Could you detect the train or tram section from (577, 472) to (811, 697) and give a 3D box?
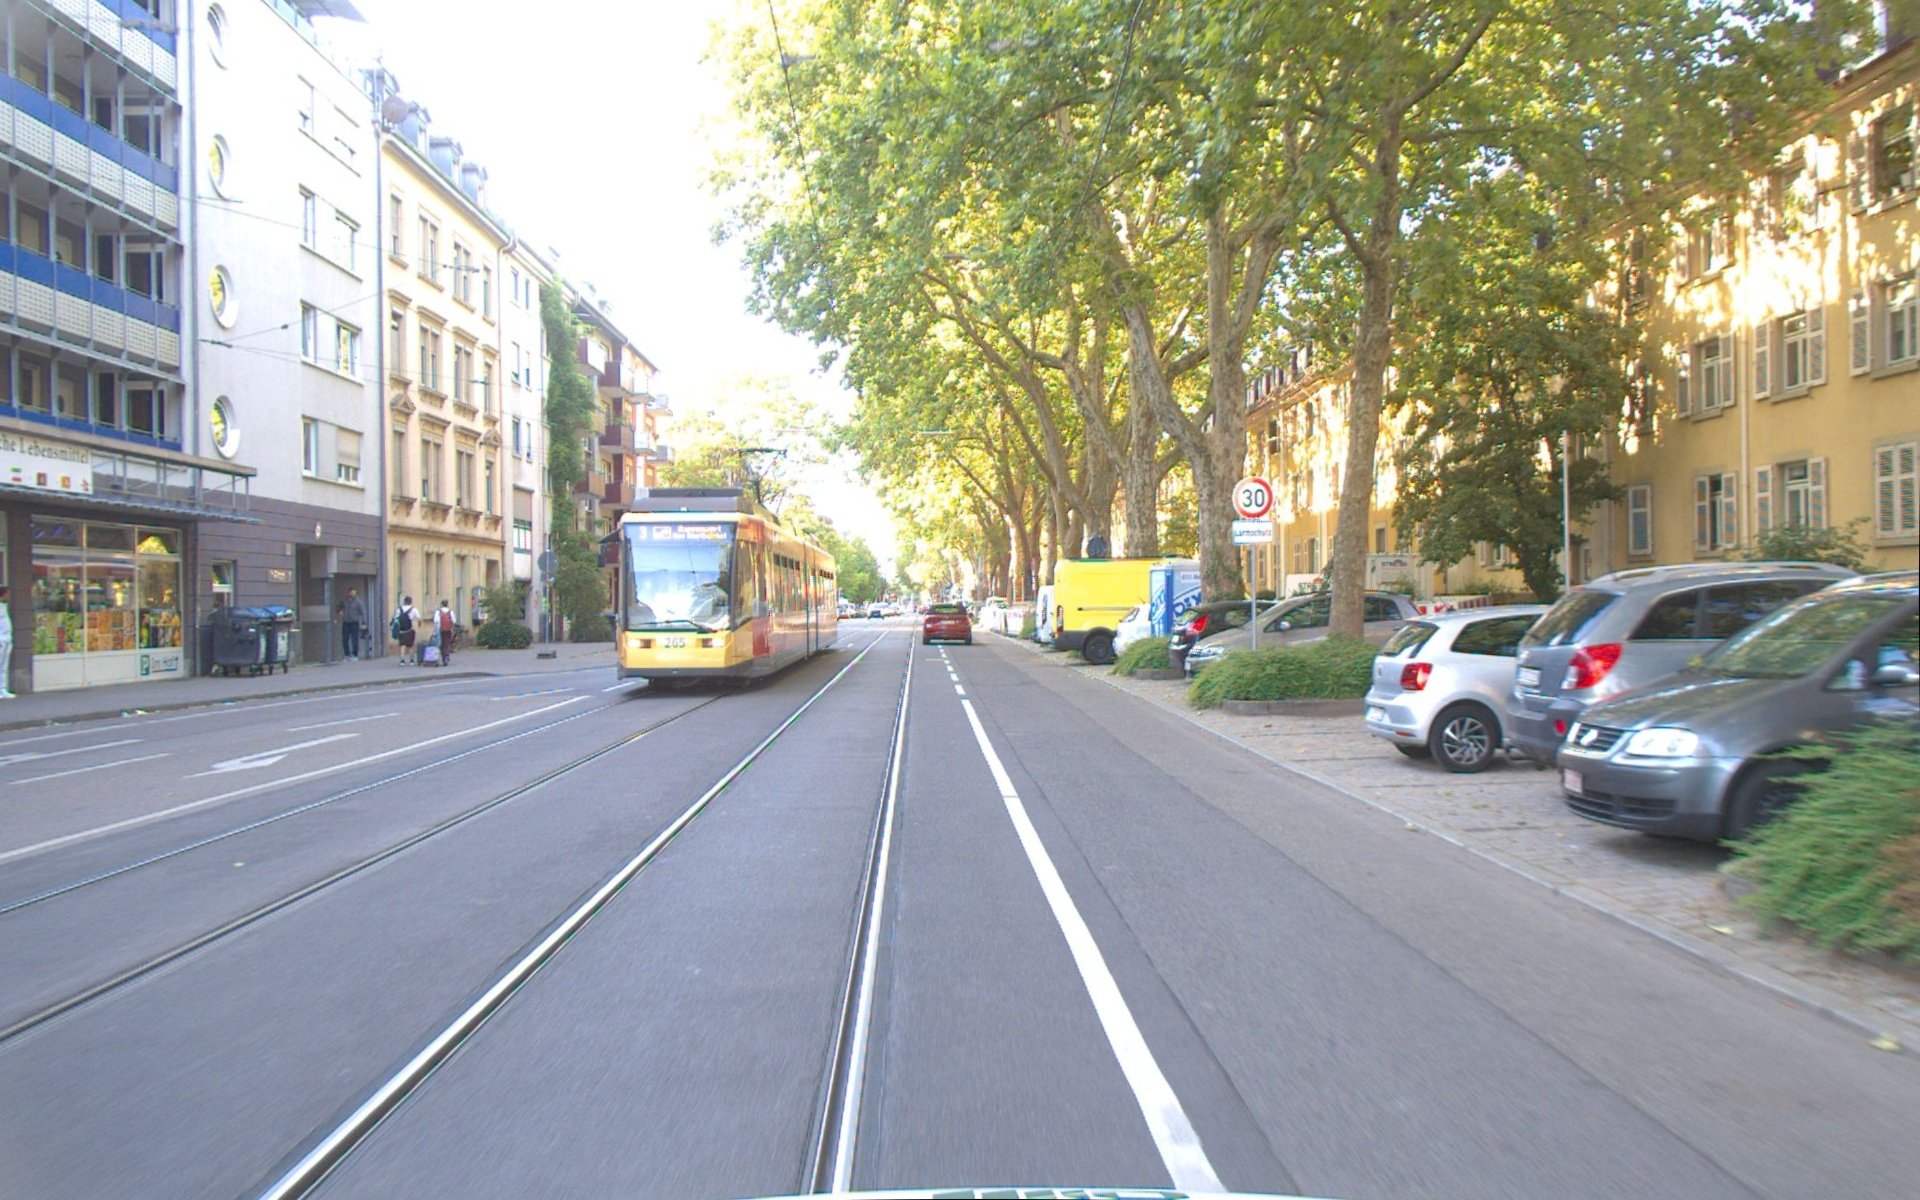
[{"bbox_3d":[-4.854,-0.247,33.145,2.850,3.547,13.365,-1,0,-2],"label":"train or tram section"}]

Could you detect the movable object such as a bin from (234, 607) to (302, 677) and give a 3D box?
[{"bbox_3d":[-15.090,0.904,36.120,1.036,1.476,1.209,-1,0,-6],"label":"movable object such as a bin"}]

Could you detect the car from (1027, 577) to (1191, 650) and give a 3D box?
[{"bbox_3d":[4.490,0.401,50.471,4.737,2.048,2.063,-1,0,-2],"label":"car"}]

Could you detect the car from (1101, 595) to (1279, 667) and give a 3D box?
[{"bbox_3d":[5.253,0.694,38.083,3.826,1.515,1.863,-1,0,0],"label":"car"}]

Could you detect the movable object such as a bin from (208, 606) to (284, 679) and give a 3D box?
[{"bbox_3d":[-14.934,0.873,34.644,1.117,1.476,1.212,-1,0,-6],"label":"movable object such as a bin"}]

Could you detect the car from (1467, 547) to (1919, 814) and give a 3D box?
[{"bbox_3d":[6.253,0.536,12.533,4.219,1.761,1.841,-3,0,2],"label":"car"}]

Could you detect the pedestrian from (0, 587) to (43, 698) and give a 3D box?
[{"bbox_3d":[-15.333,0.665,26.506,0.771,1.743,0.819,2,0,-2],"label":"pedestrian"}]

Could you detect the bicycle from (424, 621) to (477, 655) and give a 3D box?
[{"bbox_3d":[-15.276,1.128,49.662,0.633,0.988,2.140,0,0,9],"label":"bicycle"}]

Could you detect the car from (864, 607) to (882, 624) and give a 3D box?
[{"bbox_3d":[-9.413,1.686,179.401,1.816,1.628,4.461,1,-2,-2],"label":"car"}]

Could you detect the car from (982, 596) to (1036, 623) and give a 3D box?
[{"bbox_3d":[3.455,0.658,115.918,3.764,1.803,1.917,-1,0,2],"label":"car"}]

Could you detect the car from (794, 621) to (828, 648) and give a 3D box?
[{"bbox_3d":[-8.657,1.968,96.334,1.760,1.471,4.714,1,0,-3],"label":"car"}]

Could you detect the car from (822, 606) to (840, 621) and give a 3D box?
[{"bbox_3d":[-13.398,1.375,171.912,1.800,1.494,5.066,2,0,-3],"label":"car"}]

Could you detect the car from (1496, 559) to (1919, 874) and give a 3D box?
[{"bbox_3d":[5.840,0.599,10.278,4.337,1.686,1.907,-2,0,-3],"label":"car"}]

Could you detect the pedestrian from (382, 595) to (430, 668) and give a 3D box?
[{"bbox_3d":[-13.983,0.797,41.772,0.846,1.816,0.736,1,0,18],"label":"pedestrian"}]

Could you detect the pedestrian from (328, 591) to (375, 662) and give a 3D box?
[{"bbox_3d":[-16.202,0.701,44.019,0.943,1.845,0.729,1,0,-1],"label":"pedestrian"}]

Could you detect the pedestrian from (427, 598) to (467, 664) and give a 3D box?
[{"bbox_3d":[-13.212,0.800,42.603,0.714,1.661,0.685,1,0,33],"label":"pedestrian"}]

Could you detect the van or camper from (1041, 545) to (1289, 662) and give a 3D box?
[{"bbox_3d":[4.984,0.105,40.901,5.804,2.675,2.270,-1,-1,0],"label":"van or camper"}]

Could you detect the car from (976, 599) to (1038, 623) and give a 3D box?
[{"bbox_3d":[3.153,0.744,111.626,4.006,1.548,1.915,-1,-1,-3],"label":"car"}]

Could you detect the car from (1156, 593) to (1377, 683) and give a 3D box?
[{"bbox_3d":[5.505,0.665,29.974,3.581,1.451,1.735,-2,0,-5],"label":"car"}]

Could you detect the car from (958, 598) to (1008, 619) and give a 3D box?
[{"bbox_3d":[2.076,0.779,150.643,4.403,1.630,2.028,-3,-1,2],"label":"car"}]

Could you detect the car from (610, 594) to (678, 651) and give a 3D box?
[{"bbox_3d":[-10.664,0.728,56.137,1.753,1.802,4.467,-1,0,-4],"label":"car"}]

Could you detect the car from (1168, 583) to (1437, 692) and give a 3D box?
[{"bbox_3d":[5.586,0.598,27.292,3.995,1.577,1.830,-2,0,-2],"label":"car"}]

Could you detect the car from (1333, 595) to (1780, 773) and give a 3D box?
[{"bbox_3d":[5.594,0.753,15.849,3.577,1.449,1.865,-2,0,-1],"label":"car"}]

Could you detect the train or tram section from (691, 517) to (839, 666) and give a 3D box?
[{"bbox_3d":[-5.229,-0.188,46.996,2.850,3.547,14.193,-1,0,-2],"label":"train or tram section"}]

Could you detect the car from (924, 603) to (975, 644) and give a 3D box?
[{"bbox_3d":[-0.384,0.823,59.126,1.756,1.413,4.235,0,0,-1],"label":"car"}]

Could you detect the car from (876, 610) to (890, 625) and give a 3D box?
[{"bbox_3d":[-10.229,2.348,219.749,1.853,1.864,4.893,-1,0,-2],"label":"car"}]
